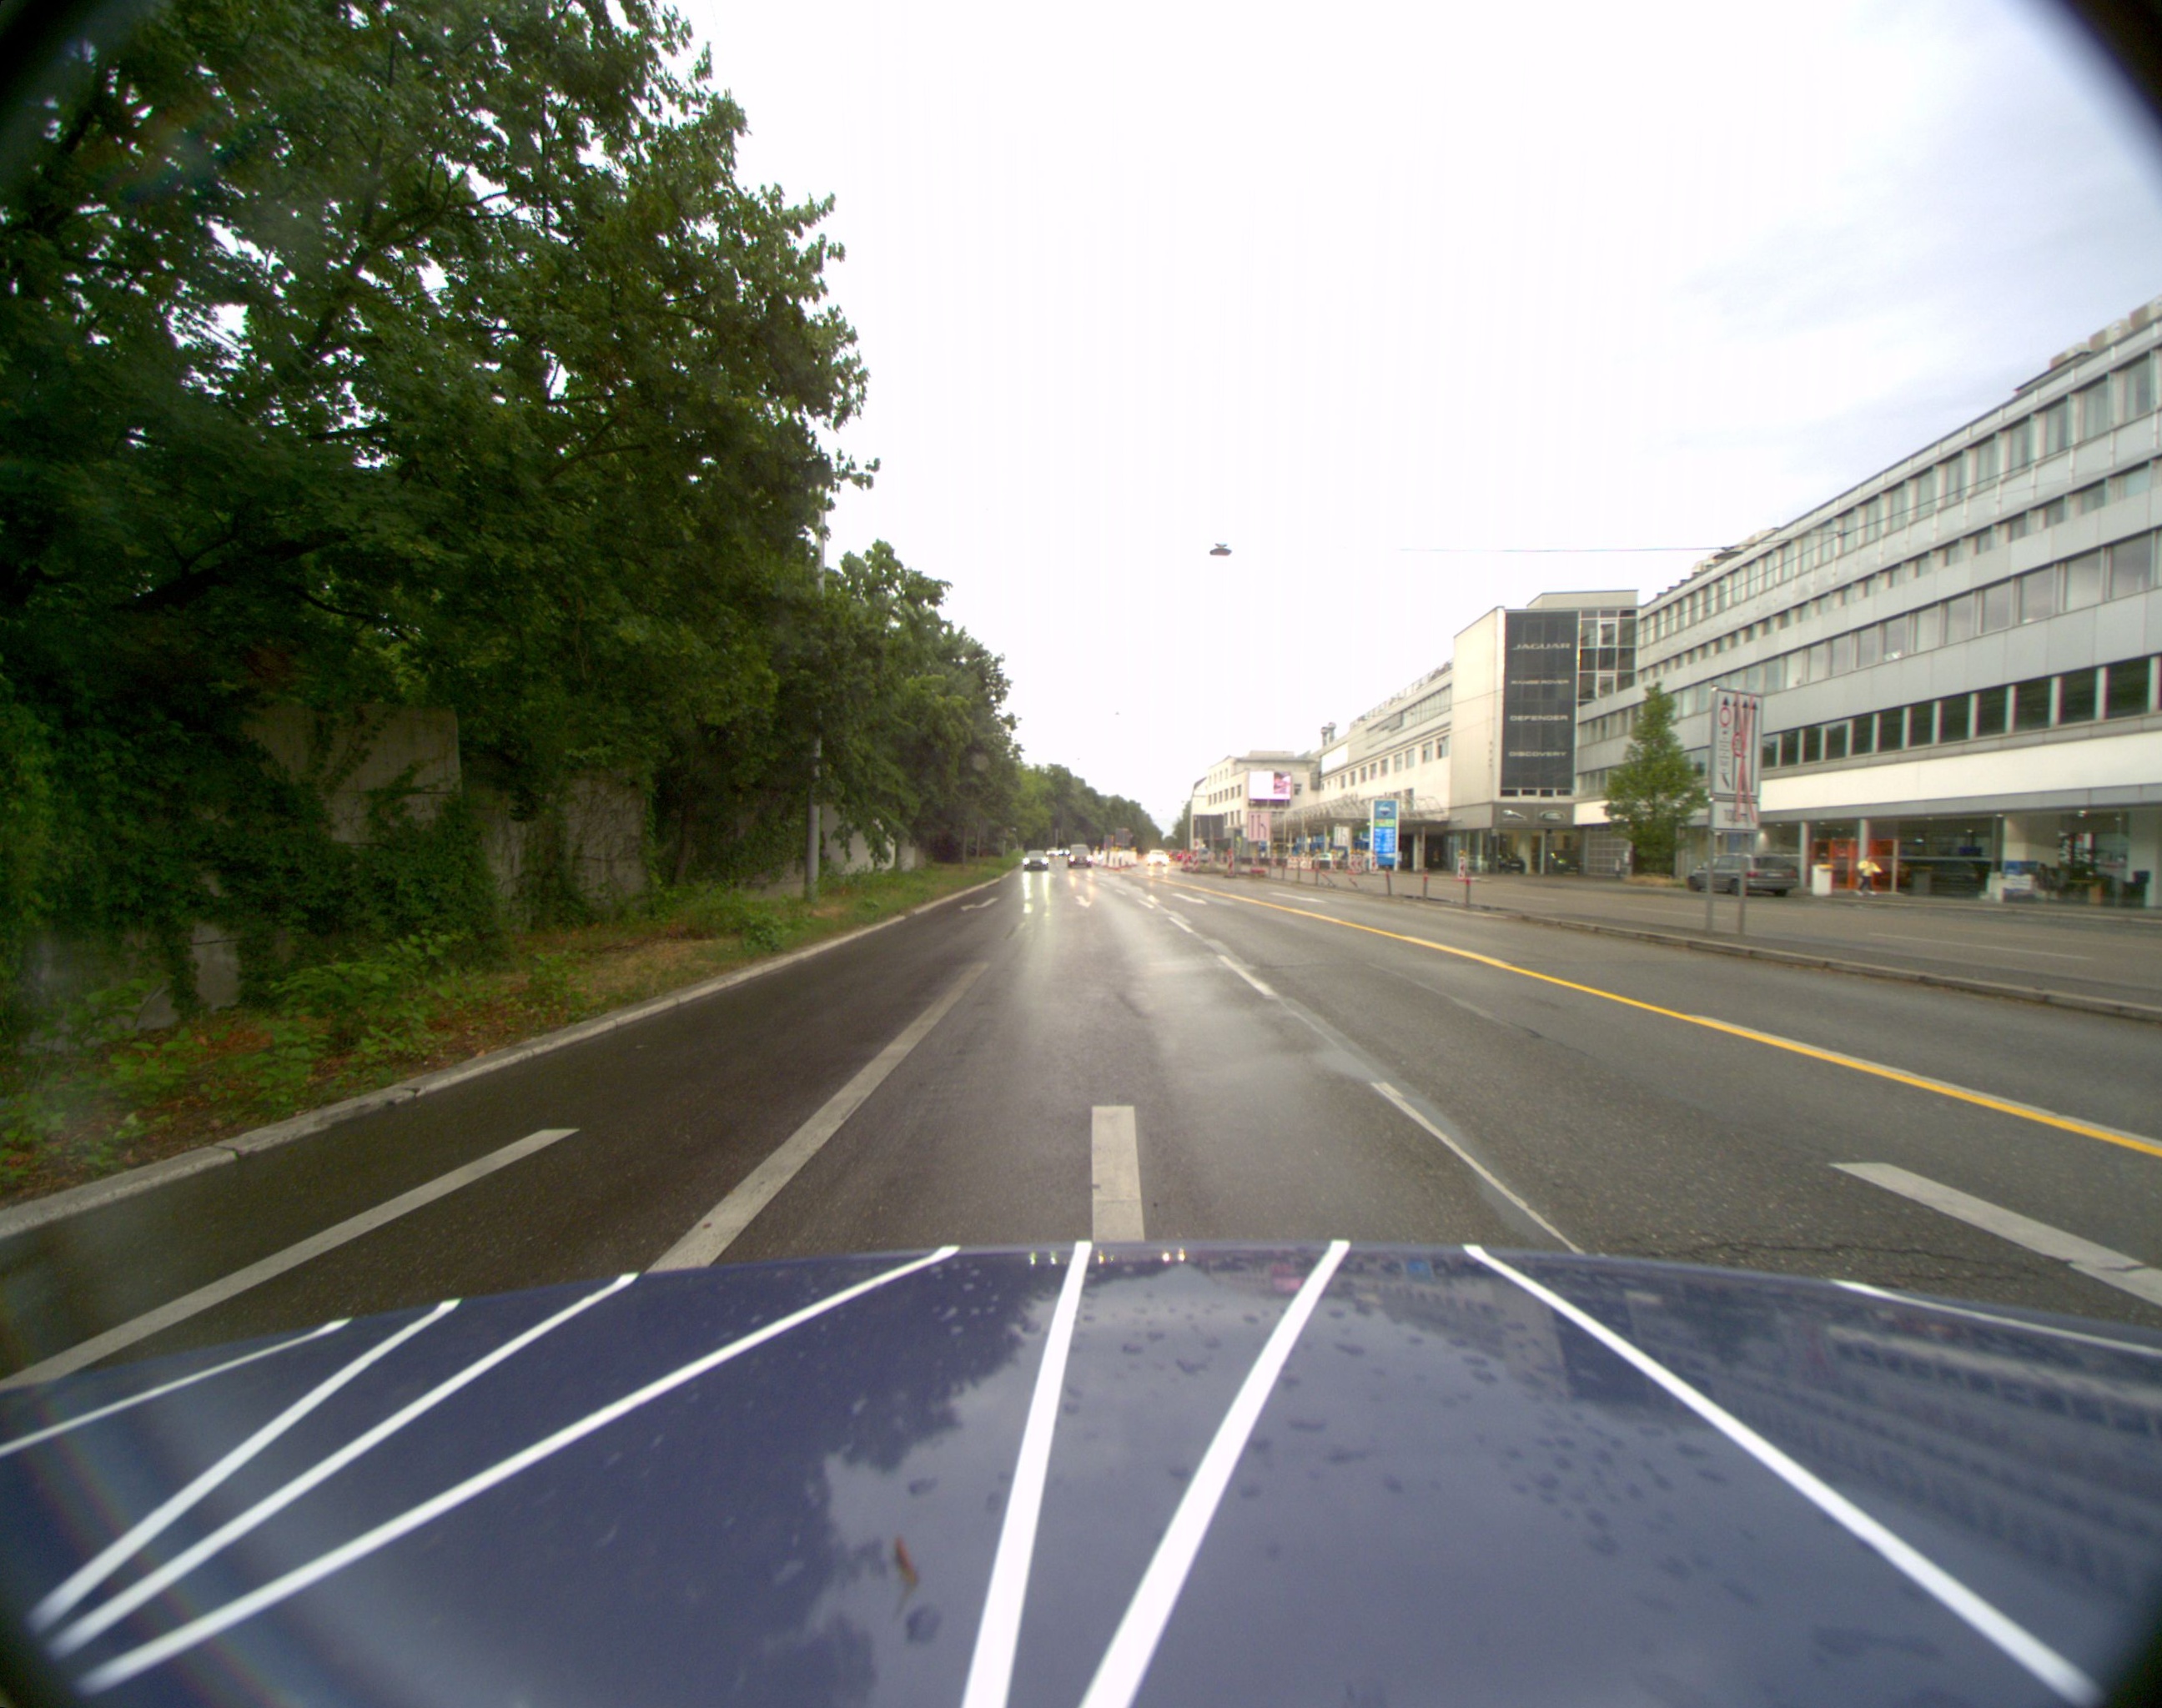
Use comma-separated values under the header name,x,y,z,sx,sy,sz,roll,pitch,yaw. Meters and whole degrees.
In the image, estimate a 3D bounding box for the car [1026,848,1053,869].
name,x,y,z,sx,sy,sz,roll,pitch,yaw
car,-3.153,0.330,58.206,1.742,1.477,3.917,-2,1,1

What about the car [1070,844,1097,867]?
name,x,y,z,sx,sy,sz,roll,pitch,yaw
car,0.222,0.096,61.096,1.998,1.740,3.999,2,1,1

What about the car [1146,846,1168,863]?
name,x,y,z,sx,sy,sz,roll,pitch,yaw
car,7.064,0.052,70.544,1.649,1.477,3.999,2,1,1

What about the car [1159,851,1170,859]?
name,x,y,z,sx,sy,sz,roll,pitch,yaw
car,16.146,0.154,147.219,1.812,1.549,4.301,1,1,2

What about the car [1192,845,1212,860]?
name,x,y,z,sx,sy,sz,roll,pitch,yaw
car,14.516,-0.212,91.118,1.738,1.776,4.301,2,1,1

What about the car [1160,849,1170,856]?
name,x,y,z,sx,sy,sz,roll,pitch,yaw
car,21.877,-0.341,198.193,1.985,1.697,4.829,1,1,-2

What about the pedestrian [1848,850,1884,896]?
name,x,y,z,sx,sy,sz,roll,pitch,yaw
pedestrian,30.337,0.719,29.357,0.719,1.722,0.538,2,1,14

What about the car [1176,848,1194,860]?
name,x,y,z,sx,sy,sz,roll,pitch,yaw
car,14.440,0.021,105.537,1.834,1.493,4.372,2,1,-1

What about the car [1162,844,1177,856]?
name,x,y,z,sx,sy,sz,roll,pitch,yaw
car,14.296,-0.673,122.778,1.850,1.727,4.603,1,1,0

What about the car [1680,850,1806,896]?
name,x,y,z,sx,sy,sz,roll,pitch,yaw
car,28.345,0.758,32.786,1.851,1.769,4.733,2,1,10
